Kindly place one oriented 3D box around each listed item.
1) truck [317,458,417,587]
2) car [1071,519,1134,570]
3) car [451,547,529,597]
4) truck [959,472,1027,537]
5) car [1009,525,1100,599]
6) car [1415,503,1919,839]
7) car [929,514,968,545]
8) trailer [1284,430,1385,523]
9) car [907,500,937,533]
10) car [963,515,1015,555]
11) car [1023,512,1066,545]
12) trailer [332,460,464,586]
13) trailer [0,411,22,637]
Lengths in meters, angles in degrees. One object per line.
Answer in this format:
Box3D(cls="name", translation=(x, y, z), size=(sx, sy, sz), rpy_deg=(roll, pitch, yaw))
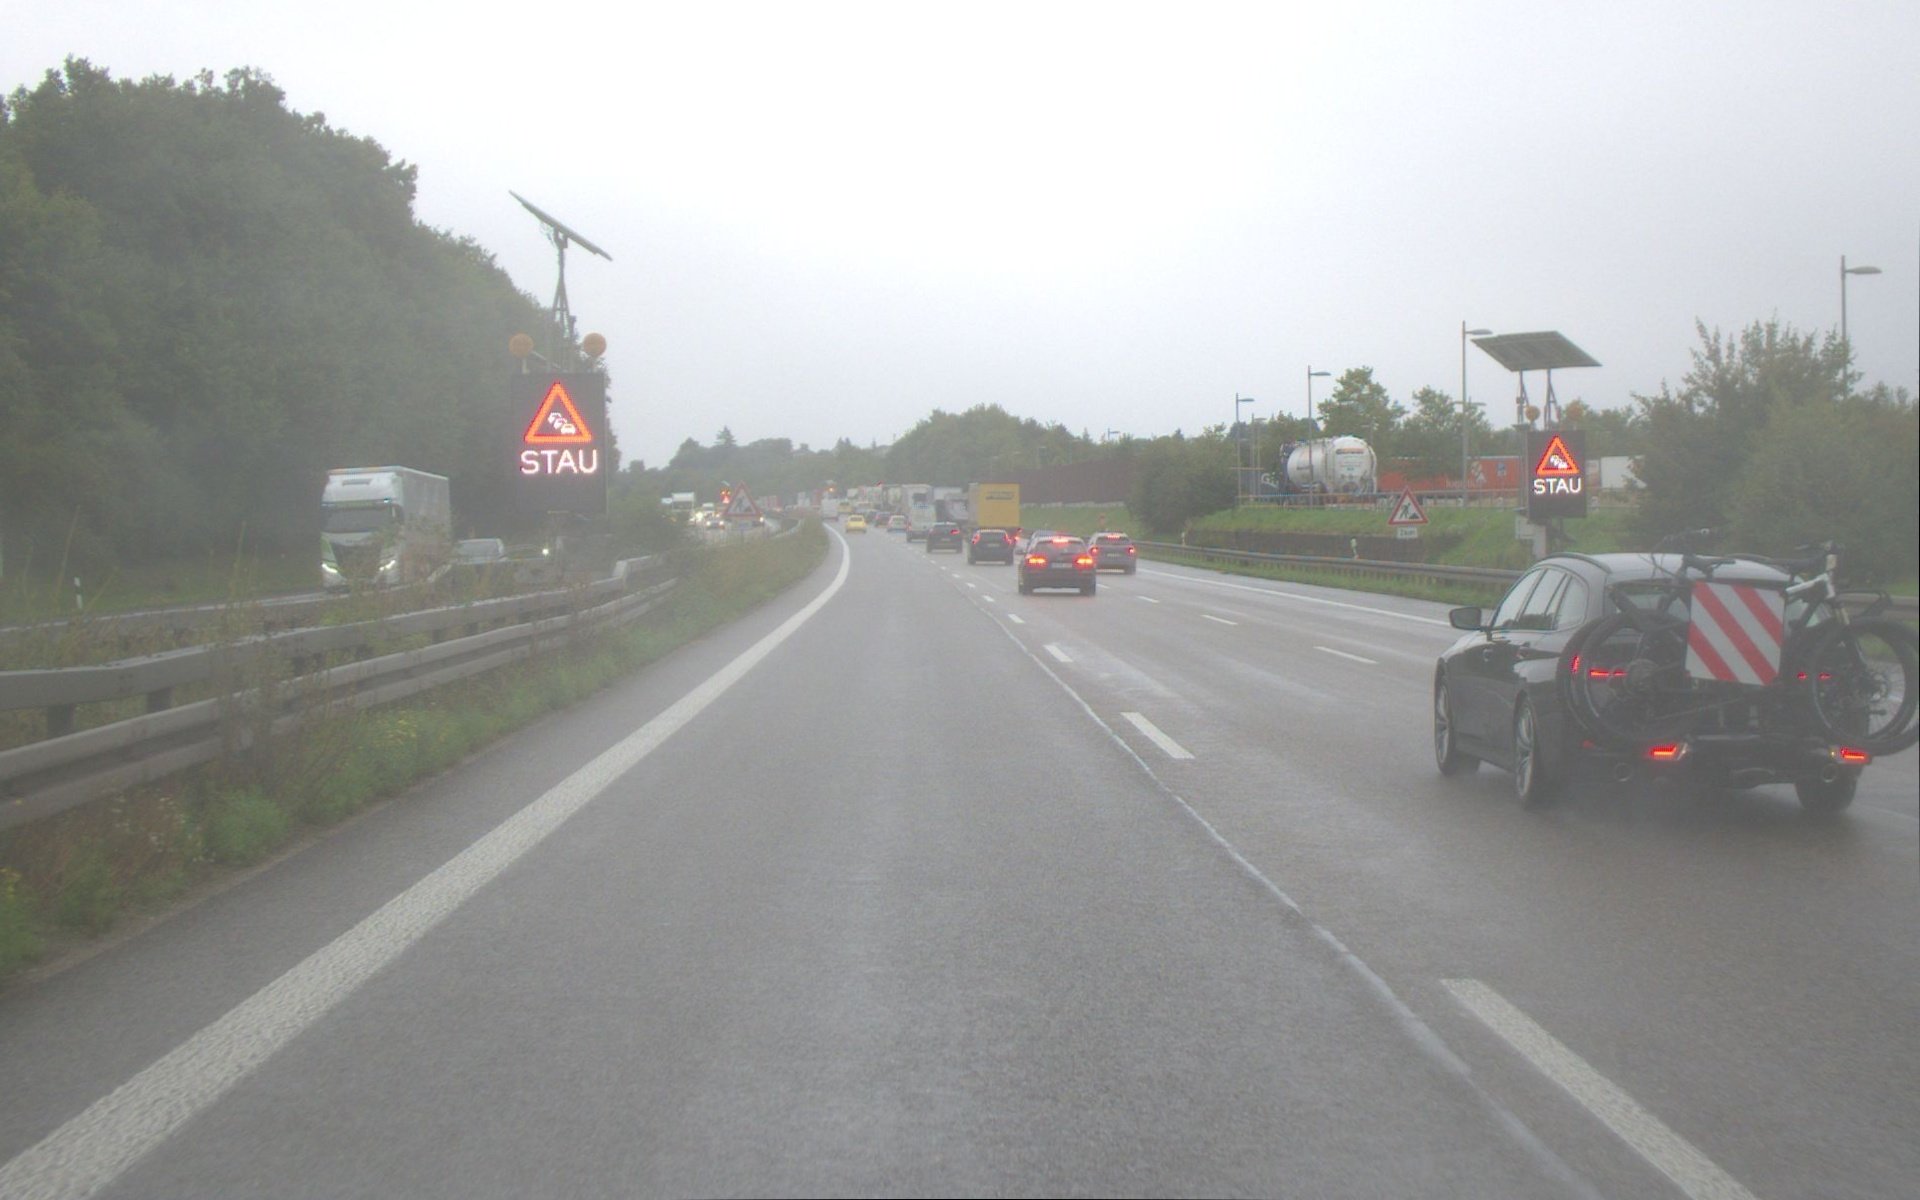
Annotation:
Box3D(cls="truck", translation=(-19.944, -2.605, 115.794), size=(2.643, 4.222, 4.000), rpy_deg=(-1, 1, -1))
Box3D(cls="car", translation=(5.091, -2.005, 123.152), size=(1.993, 1.755, 4.000), rpy_deg=(-1, 1, -1))
Box3D(cls="car", translation=(-14.796, -0.899, 108.426), size=(1.874, 1.488, 4.514), rpy_deg=(-2, 1, -1))
Box3D(cls="truck", translation=(2.055, -6.112, 220.550), size=(3.924, 3.967, 12.241), rpy_deg=(-1, 1, -1))
Box3D(cls="car", translation=(2.303, -0.963, 84.765), size=(1.993, 1.755, 4.000), rpy_deg=(-1, 1, -1))
Box3D(cls="car", translation=(4.074, 0.344, 20.030), size=(2.057, 1.665, 5.522), rpy_deg=(1, 0, 0))
Box3D(cls="car", translation=(-0.647, -3.790, 185.722), size=(1.993, 1.623, 4.000), rpy_deg=(-1, 1, -1))
Box3D(cls="trailer", translation=(17.659, -5.770, 162.809), size=(2.985, 4.142, 12.958), rpy_deg=(-1, 1, -1))
Box3D(cls="car", translation=(-2.685, -5.806, 239.172), size=(1.993, 2.197, 4.000), rpy_deg=(-1, 1, -1))
Box3D(cls="car", translation=(1.196, -2.714, 143.823), size=(1.993, 1.623, 4.000), rpy_deg=(-1, 1, -1))
Box3D(cls="car", translation=(4.380, -3.708, 177.920), size=(1.993, 1.623, 4.000), rpy_deg=(-1, 1, -1))
Box3D(cls="trailer", translation=(-20.059, -2.780, 123.519), size=(2.643, 4.222, 13.912), rpy_deg=(-1, 1, -1))
Box3D(cls="trailer", translation=(-18.449, -1.237, 57.977), size=(2.762, 4.041, 9.201), rpy_deg=(-2, 1, -1))
